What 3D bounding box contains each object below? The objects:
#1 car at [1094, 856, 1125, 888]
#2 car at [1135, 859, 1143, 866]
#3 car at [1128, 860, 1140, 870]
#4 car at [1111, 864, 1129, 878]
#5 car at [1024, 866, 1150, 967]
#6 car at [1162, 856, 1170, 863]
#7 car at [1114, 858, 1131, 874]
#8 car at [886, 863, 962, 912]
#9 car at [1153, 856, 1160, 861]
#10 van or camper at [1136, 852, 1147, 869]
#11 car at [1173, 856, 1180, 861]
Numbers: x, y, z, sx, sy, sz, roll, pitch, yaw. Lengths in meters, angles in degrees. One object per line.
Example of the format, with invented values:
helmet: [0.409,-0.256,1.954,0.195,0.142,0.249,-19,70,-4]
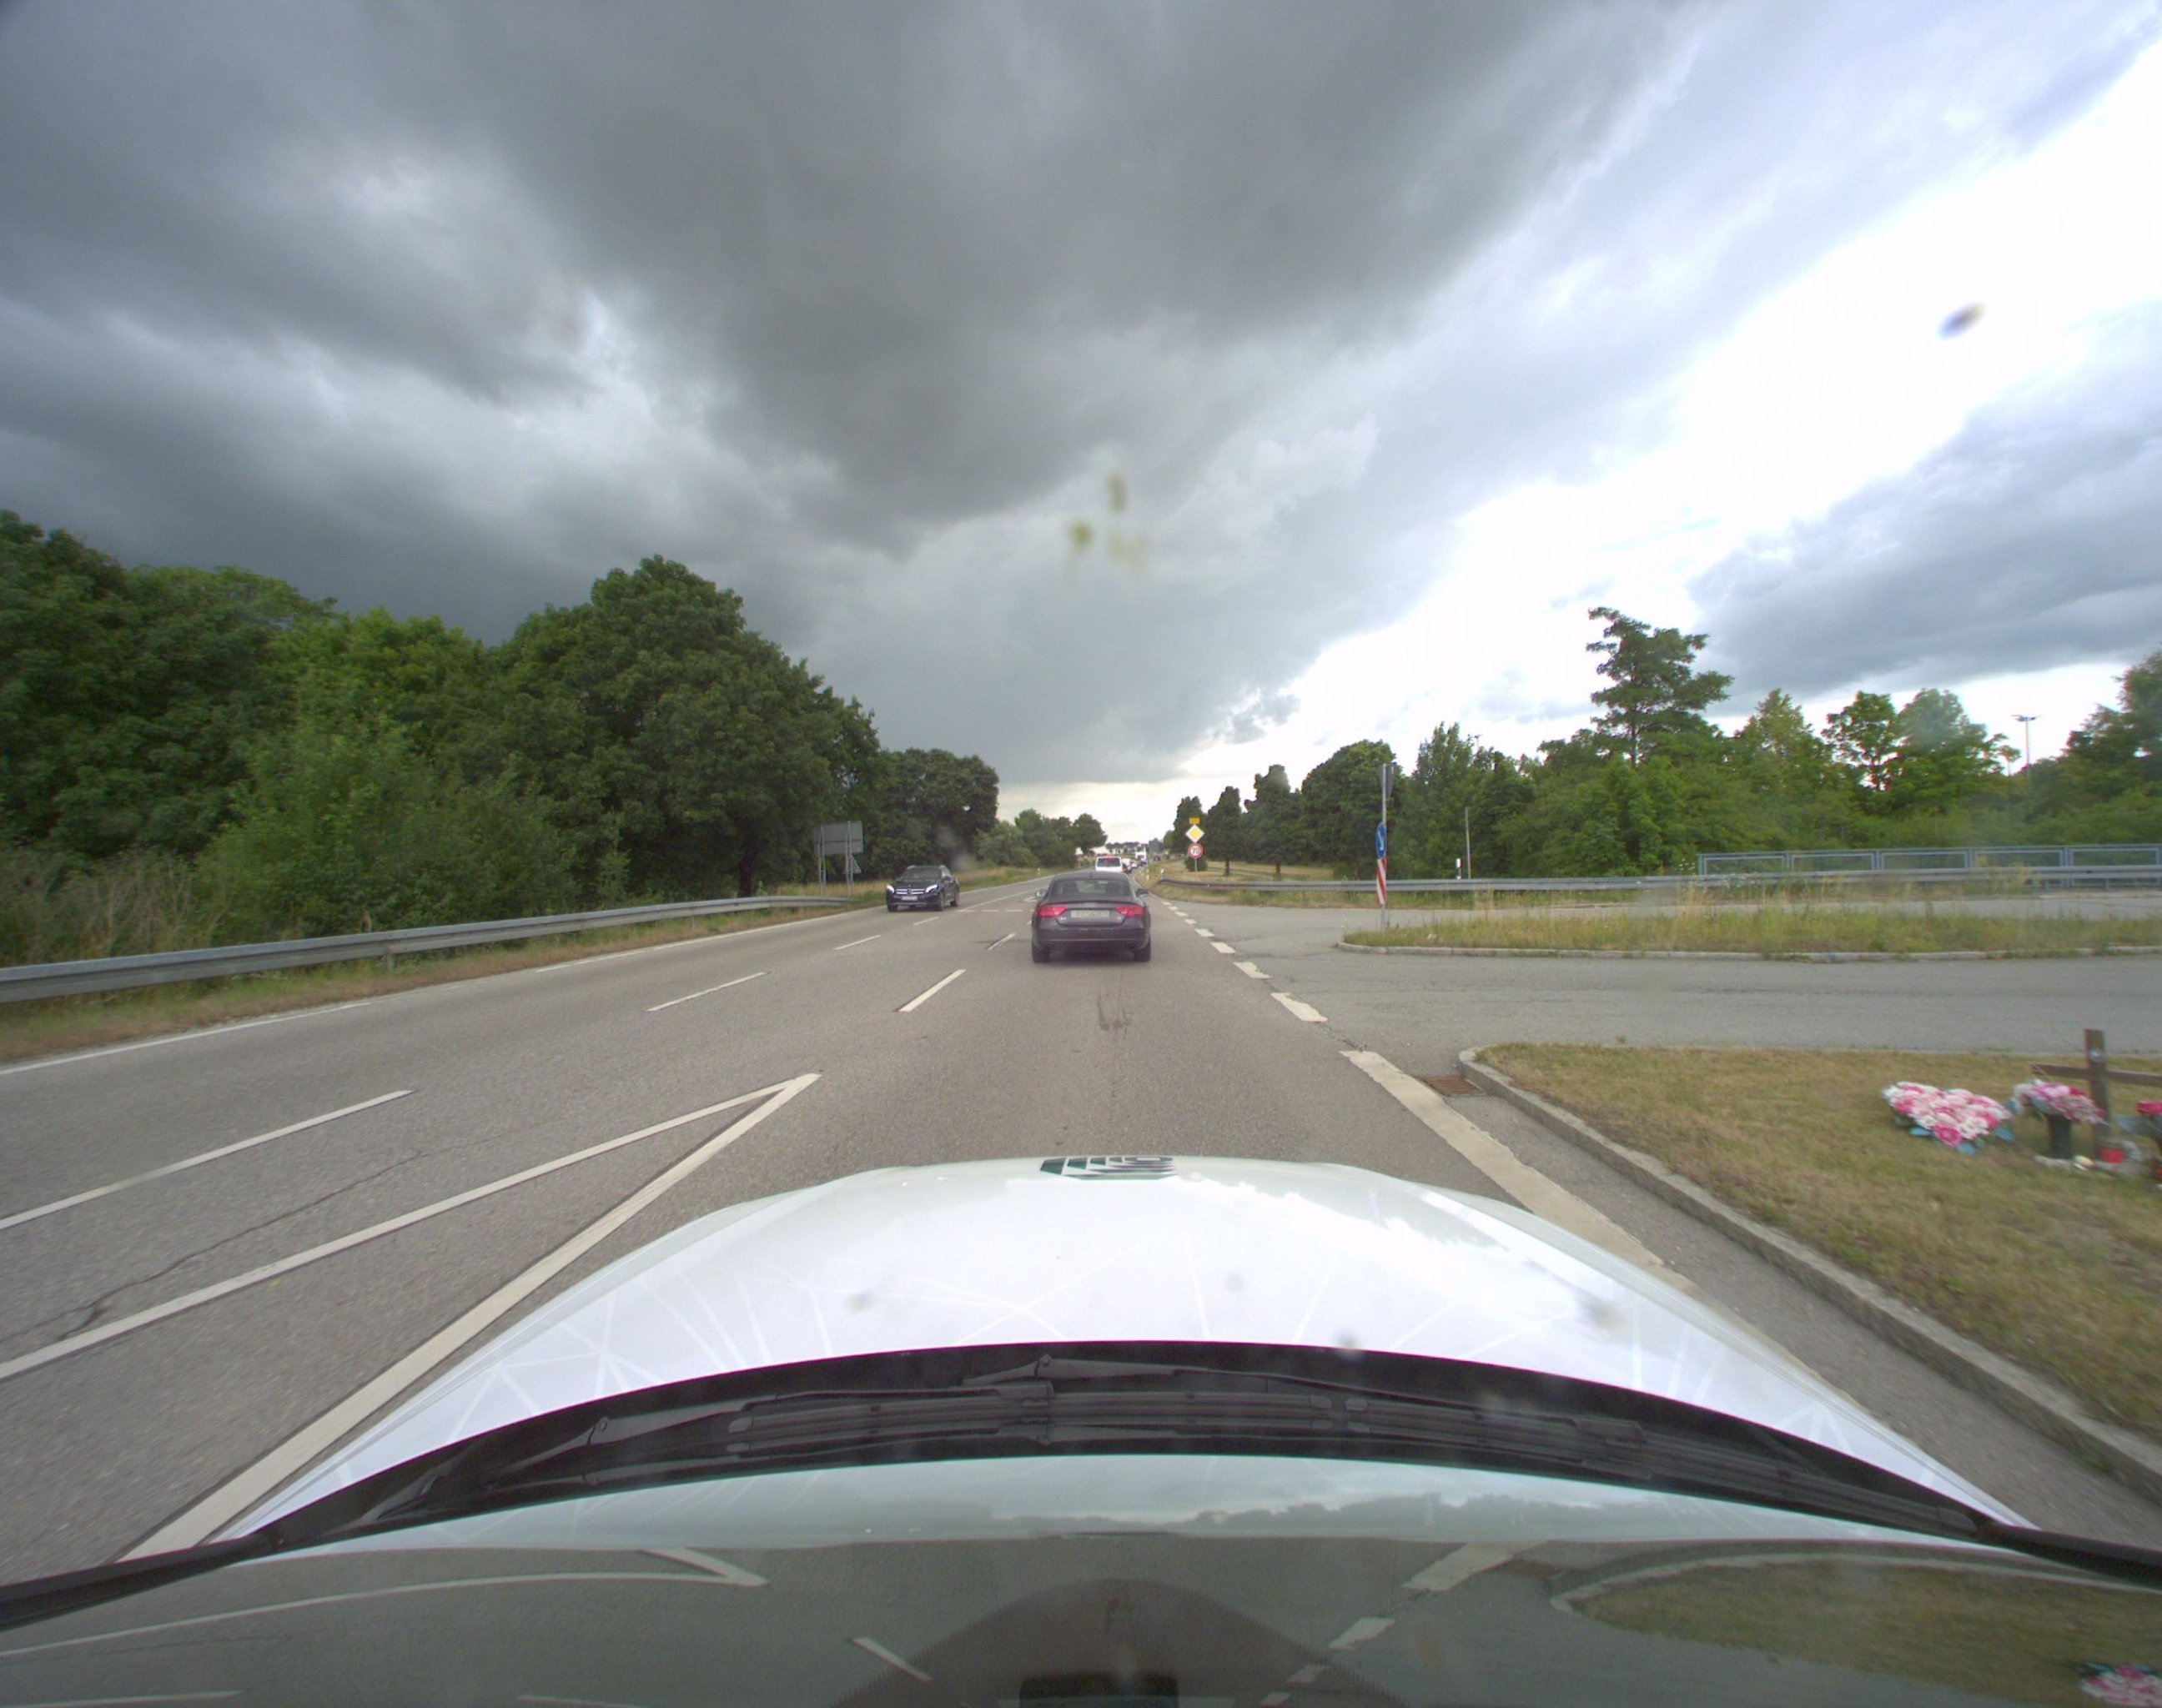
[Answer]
car: [1.795,1.072,50.983,1.832,1.882,4.001,-1,0,2]
car: [11.090,1.625,154.501,1.251,1.353,3.473,-2,-1,8]
car: [9.112,1.855,138.694,1.726,1.514,3.754,-2,-1,8]
car: [4.319,1.865,90.003,1.787,1.464,3.253,-1,-1,5]
car: [0.153,0.913,13.580,1.776,1.376,4.001,-1,0,2]
car: [25.064,1.637,239.511,1.986,2.014,4.001,-1,-1,1]
car: [5.383,1.539,105.884,1.984,2.088,4.005,-2,-1,5]
car: [-5.328,1.104,28.169,1.704,1.523,4.002,-1,-1,2]
car: [19.801,1.194,213.981,1.712,1.451,4.003,0,0,3]
van or camper: [12.828,1.390,172.618,2.330,3.481,5.724,-1,-1,4]
car: [28.017,1.312,239.340,1.814,1.596,4.003,-1,-1,3]
